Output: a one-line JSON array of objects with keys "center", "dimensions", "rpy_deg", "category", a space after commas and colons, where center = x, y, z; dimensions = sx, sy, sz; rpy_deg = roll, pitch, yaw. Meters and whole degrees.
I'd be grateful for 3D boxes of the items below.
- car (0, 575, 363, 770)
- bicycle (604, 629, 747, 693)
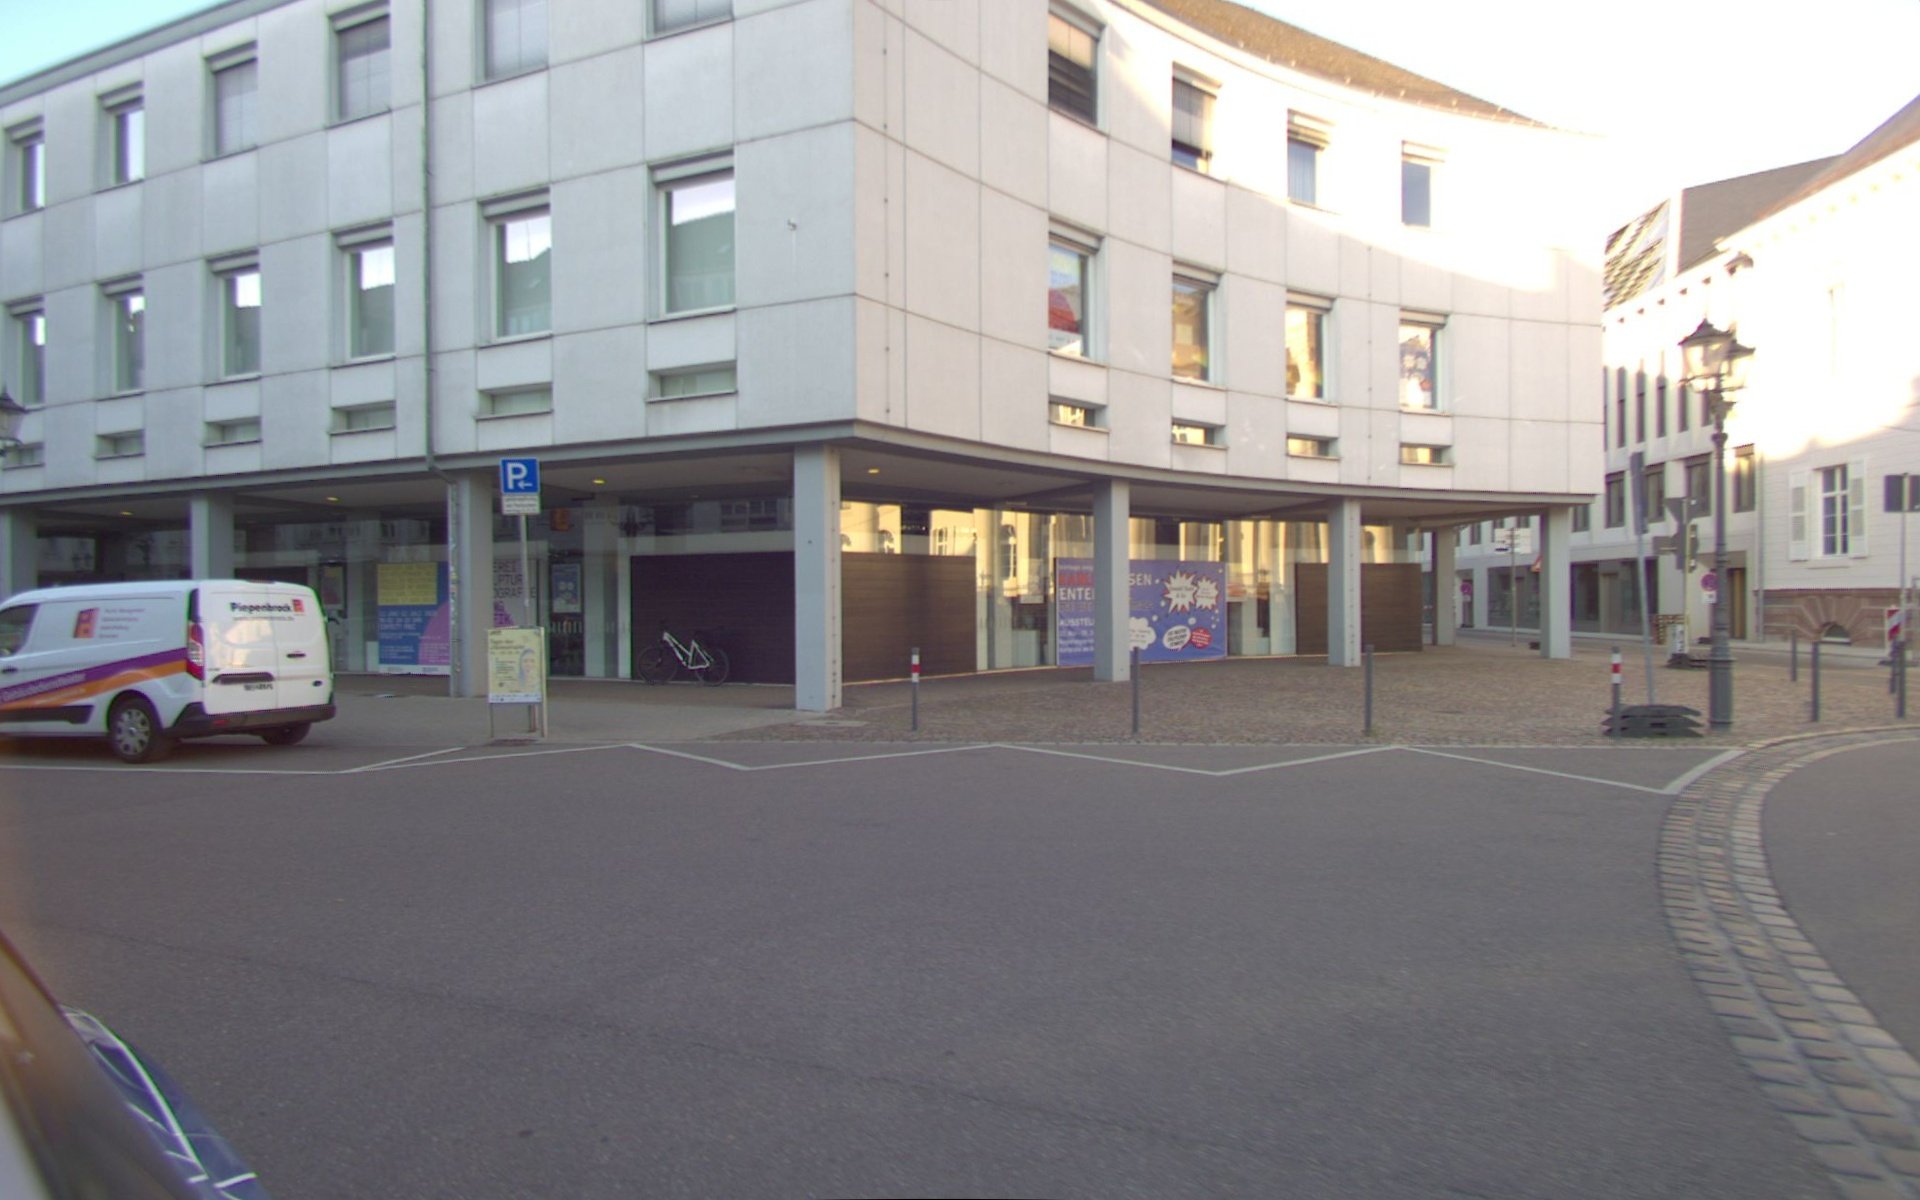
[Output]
[{"center": [-9.262, 0.703, 11.076], "dimensions": [4.740, 1.829, 1.990], "rpy_deg": [-1, 0, 16], "category": "car"}, {"center": [-4.736, 0.994, 16.853], "dimensions": [2.319, 0.991, 0.730], "rpy_deg": [-1, 0, 21], "category": "bicycle"}]
